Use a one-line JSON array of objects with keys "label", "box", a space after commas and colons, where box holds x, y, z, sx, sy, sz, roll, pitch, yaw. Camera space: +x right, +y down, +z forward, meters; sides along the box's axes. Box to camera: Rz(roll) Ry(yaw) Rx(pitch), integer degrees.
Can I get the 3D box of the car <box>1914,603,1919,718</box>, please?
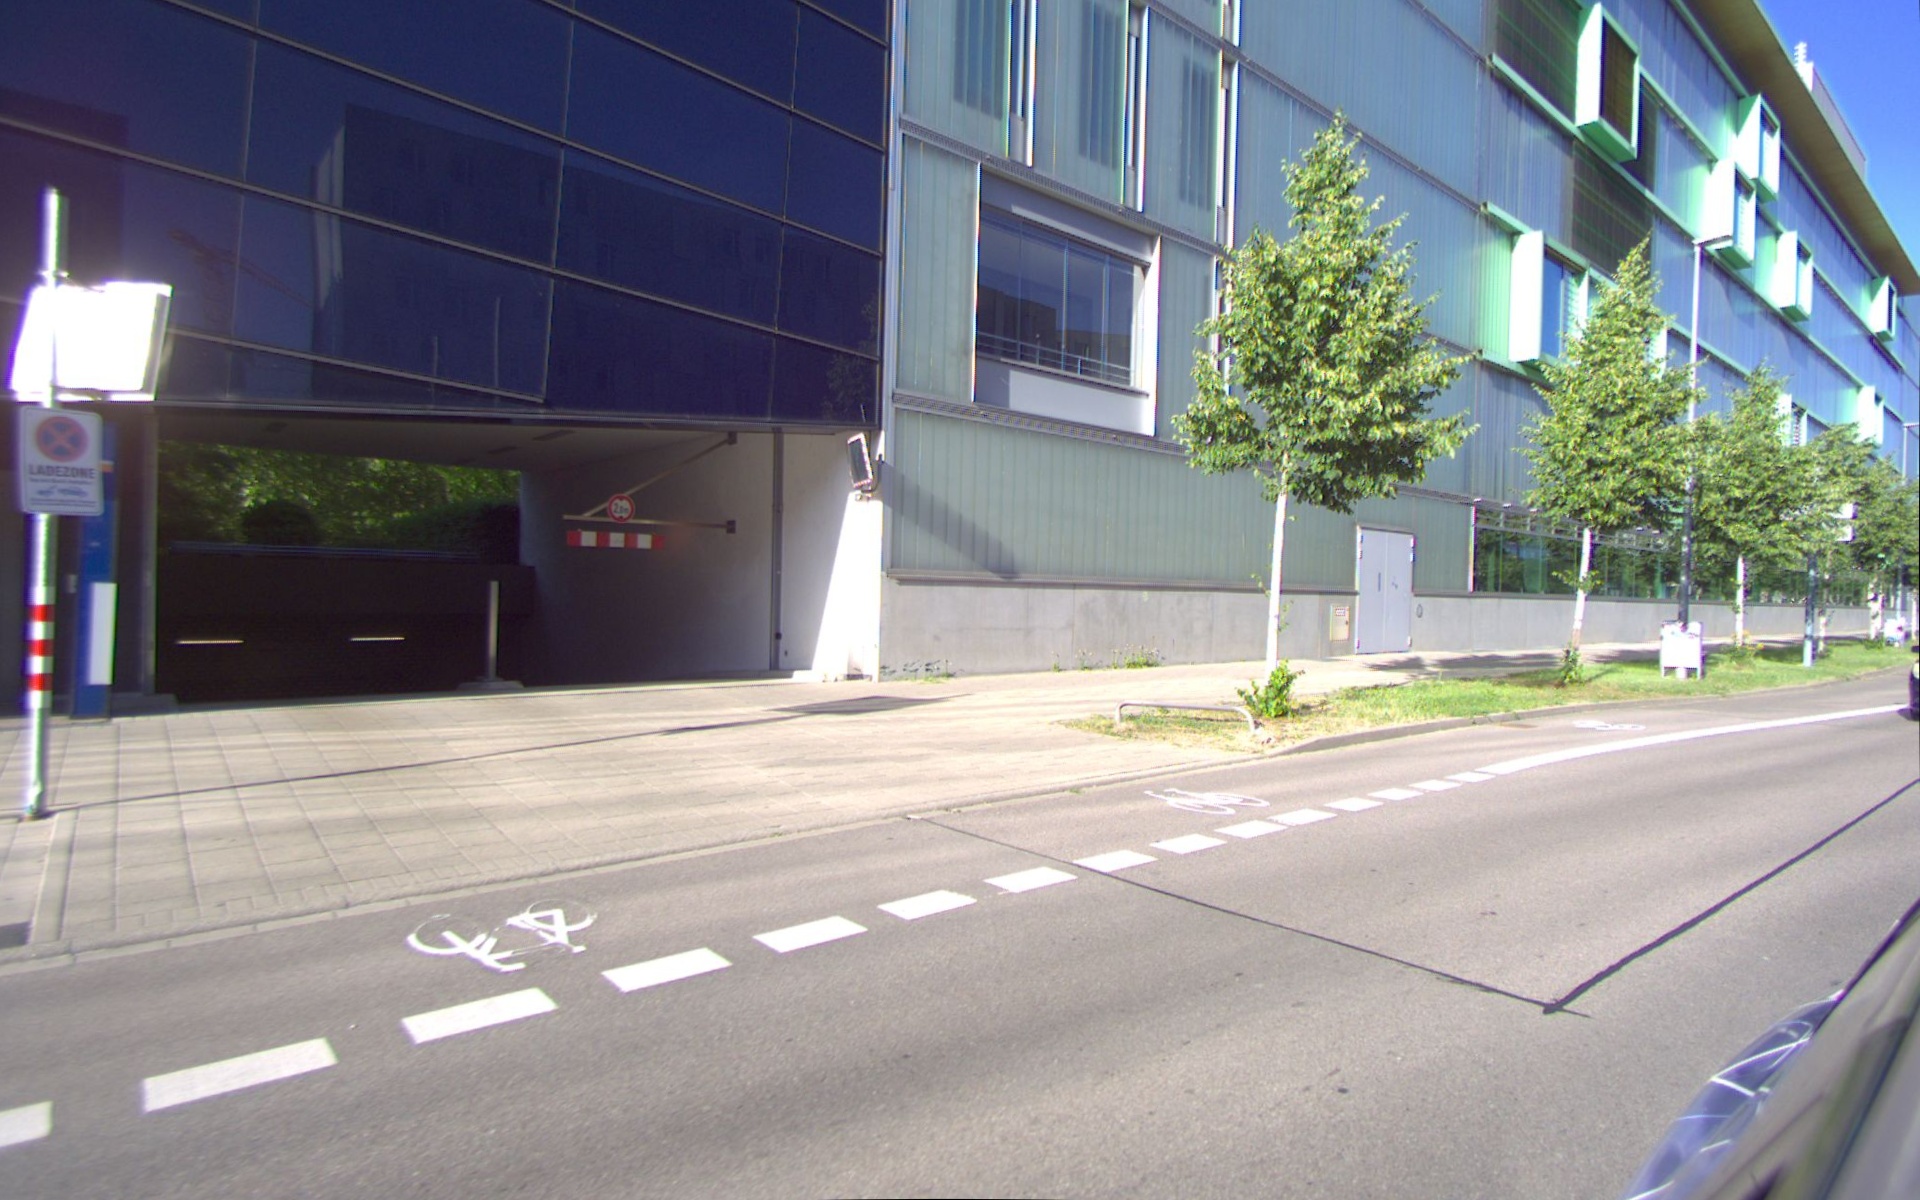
[{"label": "car", "box": [15.264, 0.845, 14.333, 4.519, 1.546, 1.803, 1, -1, -37]}]
